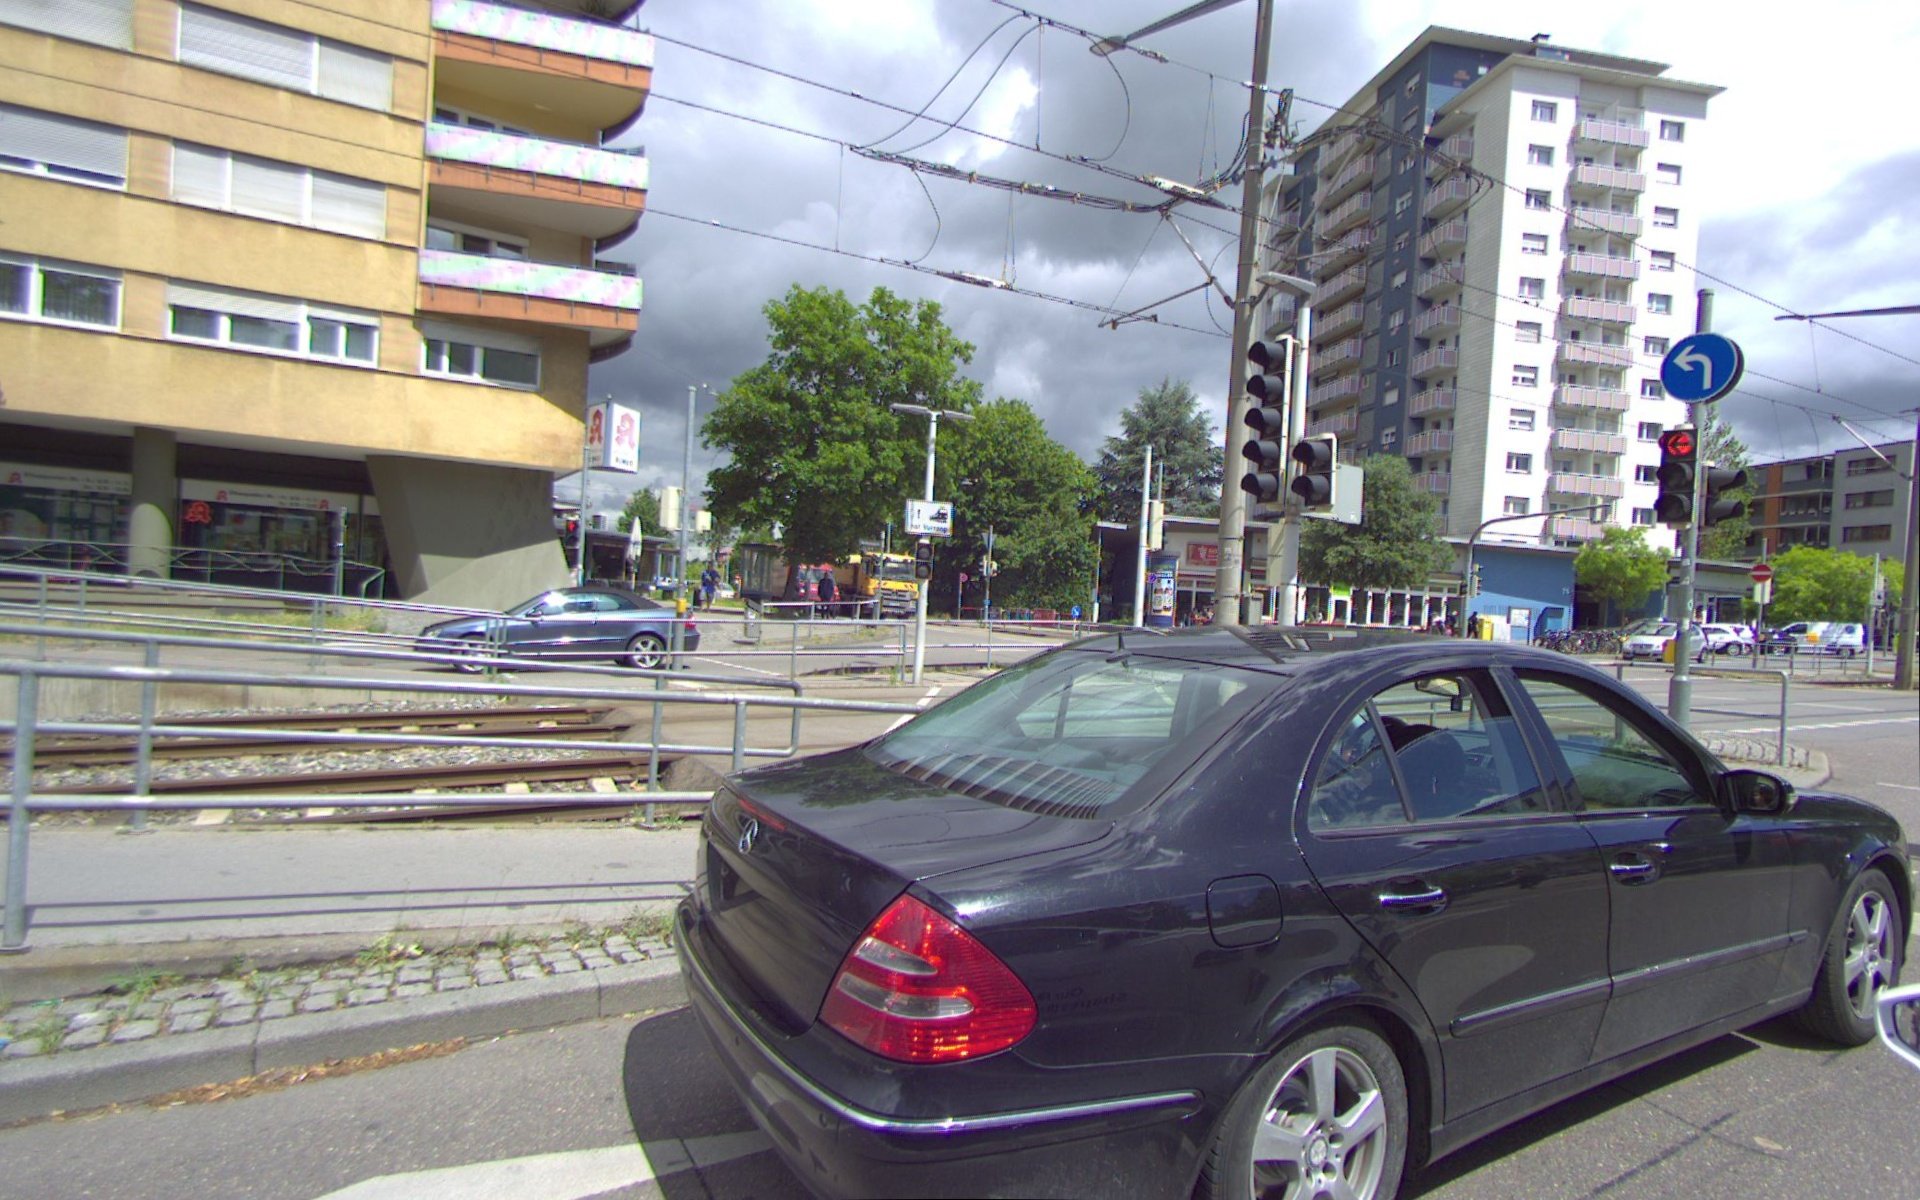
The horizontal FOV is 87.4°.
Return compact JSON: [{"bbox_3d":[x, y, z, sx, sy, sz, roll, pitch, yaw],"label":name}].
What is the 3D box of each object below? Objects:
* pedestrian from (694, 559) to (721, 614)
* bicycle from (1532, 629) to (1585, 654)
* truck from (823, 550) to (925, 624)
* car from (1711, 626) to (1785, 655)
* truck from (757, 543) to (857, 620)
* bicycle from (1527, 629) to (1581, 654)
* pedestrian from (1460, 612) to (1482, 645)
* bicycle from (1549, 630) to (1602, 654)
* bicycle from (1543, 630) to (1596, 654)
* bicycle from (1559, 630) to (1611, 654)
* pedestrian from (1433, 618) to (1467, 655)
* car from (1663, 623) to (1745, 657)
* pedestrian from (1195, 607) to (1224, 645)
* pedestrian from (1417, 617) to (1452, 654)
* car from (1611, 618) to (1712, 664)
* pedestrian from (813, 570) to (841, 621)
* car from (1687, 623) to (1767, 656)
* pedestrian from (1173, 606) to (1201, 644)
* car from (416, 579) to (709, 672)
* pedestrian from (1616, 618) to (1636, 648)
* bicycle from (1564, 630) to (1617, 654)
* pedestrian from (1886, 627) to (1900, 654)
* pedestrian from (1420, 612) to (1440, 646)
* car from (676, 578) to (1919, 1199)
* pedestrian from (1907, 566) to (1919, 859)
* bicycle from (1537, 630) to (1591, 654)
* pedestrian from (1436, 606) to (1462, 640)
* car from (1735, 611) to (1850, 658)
[{"bbox_3d":[-7.879,-0.421,31.312,0.753,1.638,0.776,0,4,-19],"label":"pedestrian"},{"bbox_3d":[25.818,1.783,43.353,0.490,0.947,1.933,2,0,-35],"label":"bicycle"},{"bbox_3d":[-4.318,-0.625,48.808,2.733,3.244,7.442,2,0,-23],"label":"truck"},{"bbox_3d":[44.622,2.275,56.981,1.754,1.439,4.219,2,0,16],"label":"car"},{"bbox_3d":[-7.556,-0.839,48.413,2.692,3.320,8.877,2,0,-22],"label":"truck"},{"bbox_3d":[25.447,1.770,43.075,0.490,0.947,1.933,2,0,-35],"label":"bicycle"},{"bbox_3d":[25.819,1.418,50.718,0.693,1.637,0.760,1,1,-43],"label":"pedestrian"},{"bbox_3d":[27.077,1.827,44.193,0.490,0.947,1.933,2,0,-35],"label":"bicycle"},{"bbox_3d":[26.614,1.811,43.915,0.490,0.947,1.933,2,0,-35],"label":"bicycle"},{"bbox_3d":[27.593,1.845,44.373,0.490,0.947,1.933,2,0,-35],"label":"bicycle"},{"bbox_3d":[23.107,1.716,47.357,1.084,1.681,0.942,2,-1,-25],"label":"pedestrian"},{"bbox_3d":[39.426,2.076,53.355,1.921,1.591,4.220,2,0,13],"label":"car"},{"bbox_3d":[11.275,1.154,45.456,0.977,1.681,0.969,2,-1,-4],"label":"pedestrian"},{"bbox_3d":[22.111,1.662,46.819,1.084,1.681,0.942,2,-1,-25],"label":"pedestrian"},{"bbox_3d":[28.487,1.645,40.772,3.827,1.715,1.928,2,0,-30],"label":"car"},{"bbox_3d":[-4.541,-0.150,34.232,0.752,1.636,0.779,7,1,-9],"label":"pedestrian"},{"bbox_3d":[42.060,2.134,55.220,1.921,1.558,4.220,2,0,13],"label":"car"},{"bbox_3d":[10.227,1.120,45.250,0.977,1.681,0.969,2,-1,-4],"label":"pedestrian"},{"bbox_3d":[-6.771,0.456,17.283,4.444,1.418,1.626,2,0,-32],"label":"car"},{"bbox_3d":[37.433,1.866,56.438,0.759,1.637,0.694,2,1,44],"label":"pedestrian"},{"bbox_3d":[28.002,1.859,44.657,0.490,0.947,1.933,2,0,-35],"label":"bicycle"},{"bbox_3d":[61.280,2.654,65.946,0.663,1.739,0.542,1,1,-40],"label":"pedestrian"},{"bbox_3d":[23.412,1.448,50.039,0.757,1.637,0.695,2,0,37],"label":"pedestrian"},{"bbox_3d":[1.496,0.751,3.487,4.490,1.481,1.720,2,0,-30],"label":"car"},{"bbox_3d":[6.533,0.718,6.170,0.734,1.832,0.863,1,1,-33],"label":"pedestrian"},{"bbox_3d":[26.228,1.797,43.642,0.490,0.947,1.933,2,0,-35],"label":"bicycle"},{"bbox_3d":[28.158,1.327,57.849,1.204,1.942,0.858,1,1,-37],"label":"pedestrian"},{"bbox_3d":[49.060,1.935,59.438,2.776,2.512,6.724,2,0,17],"label":"car"}]
